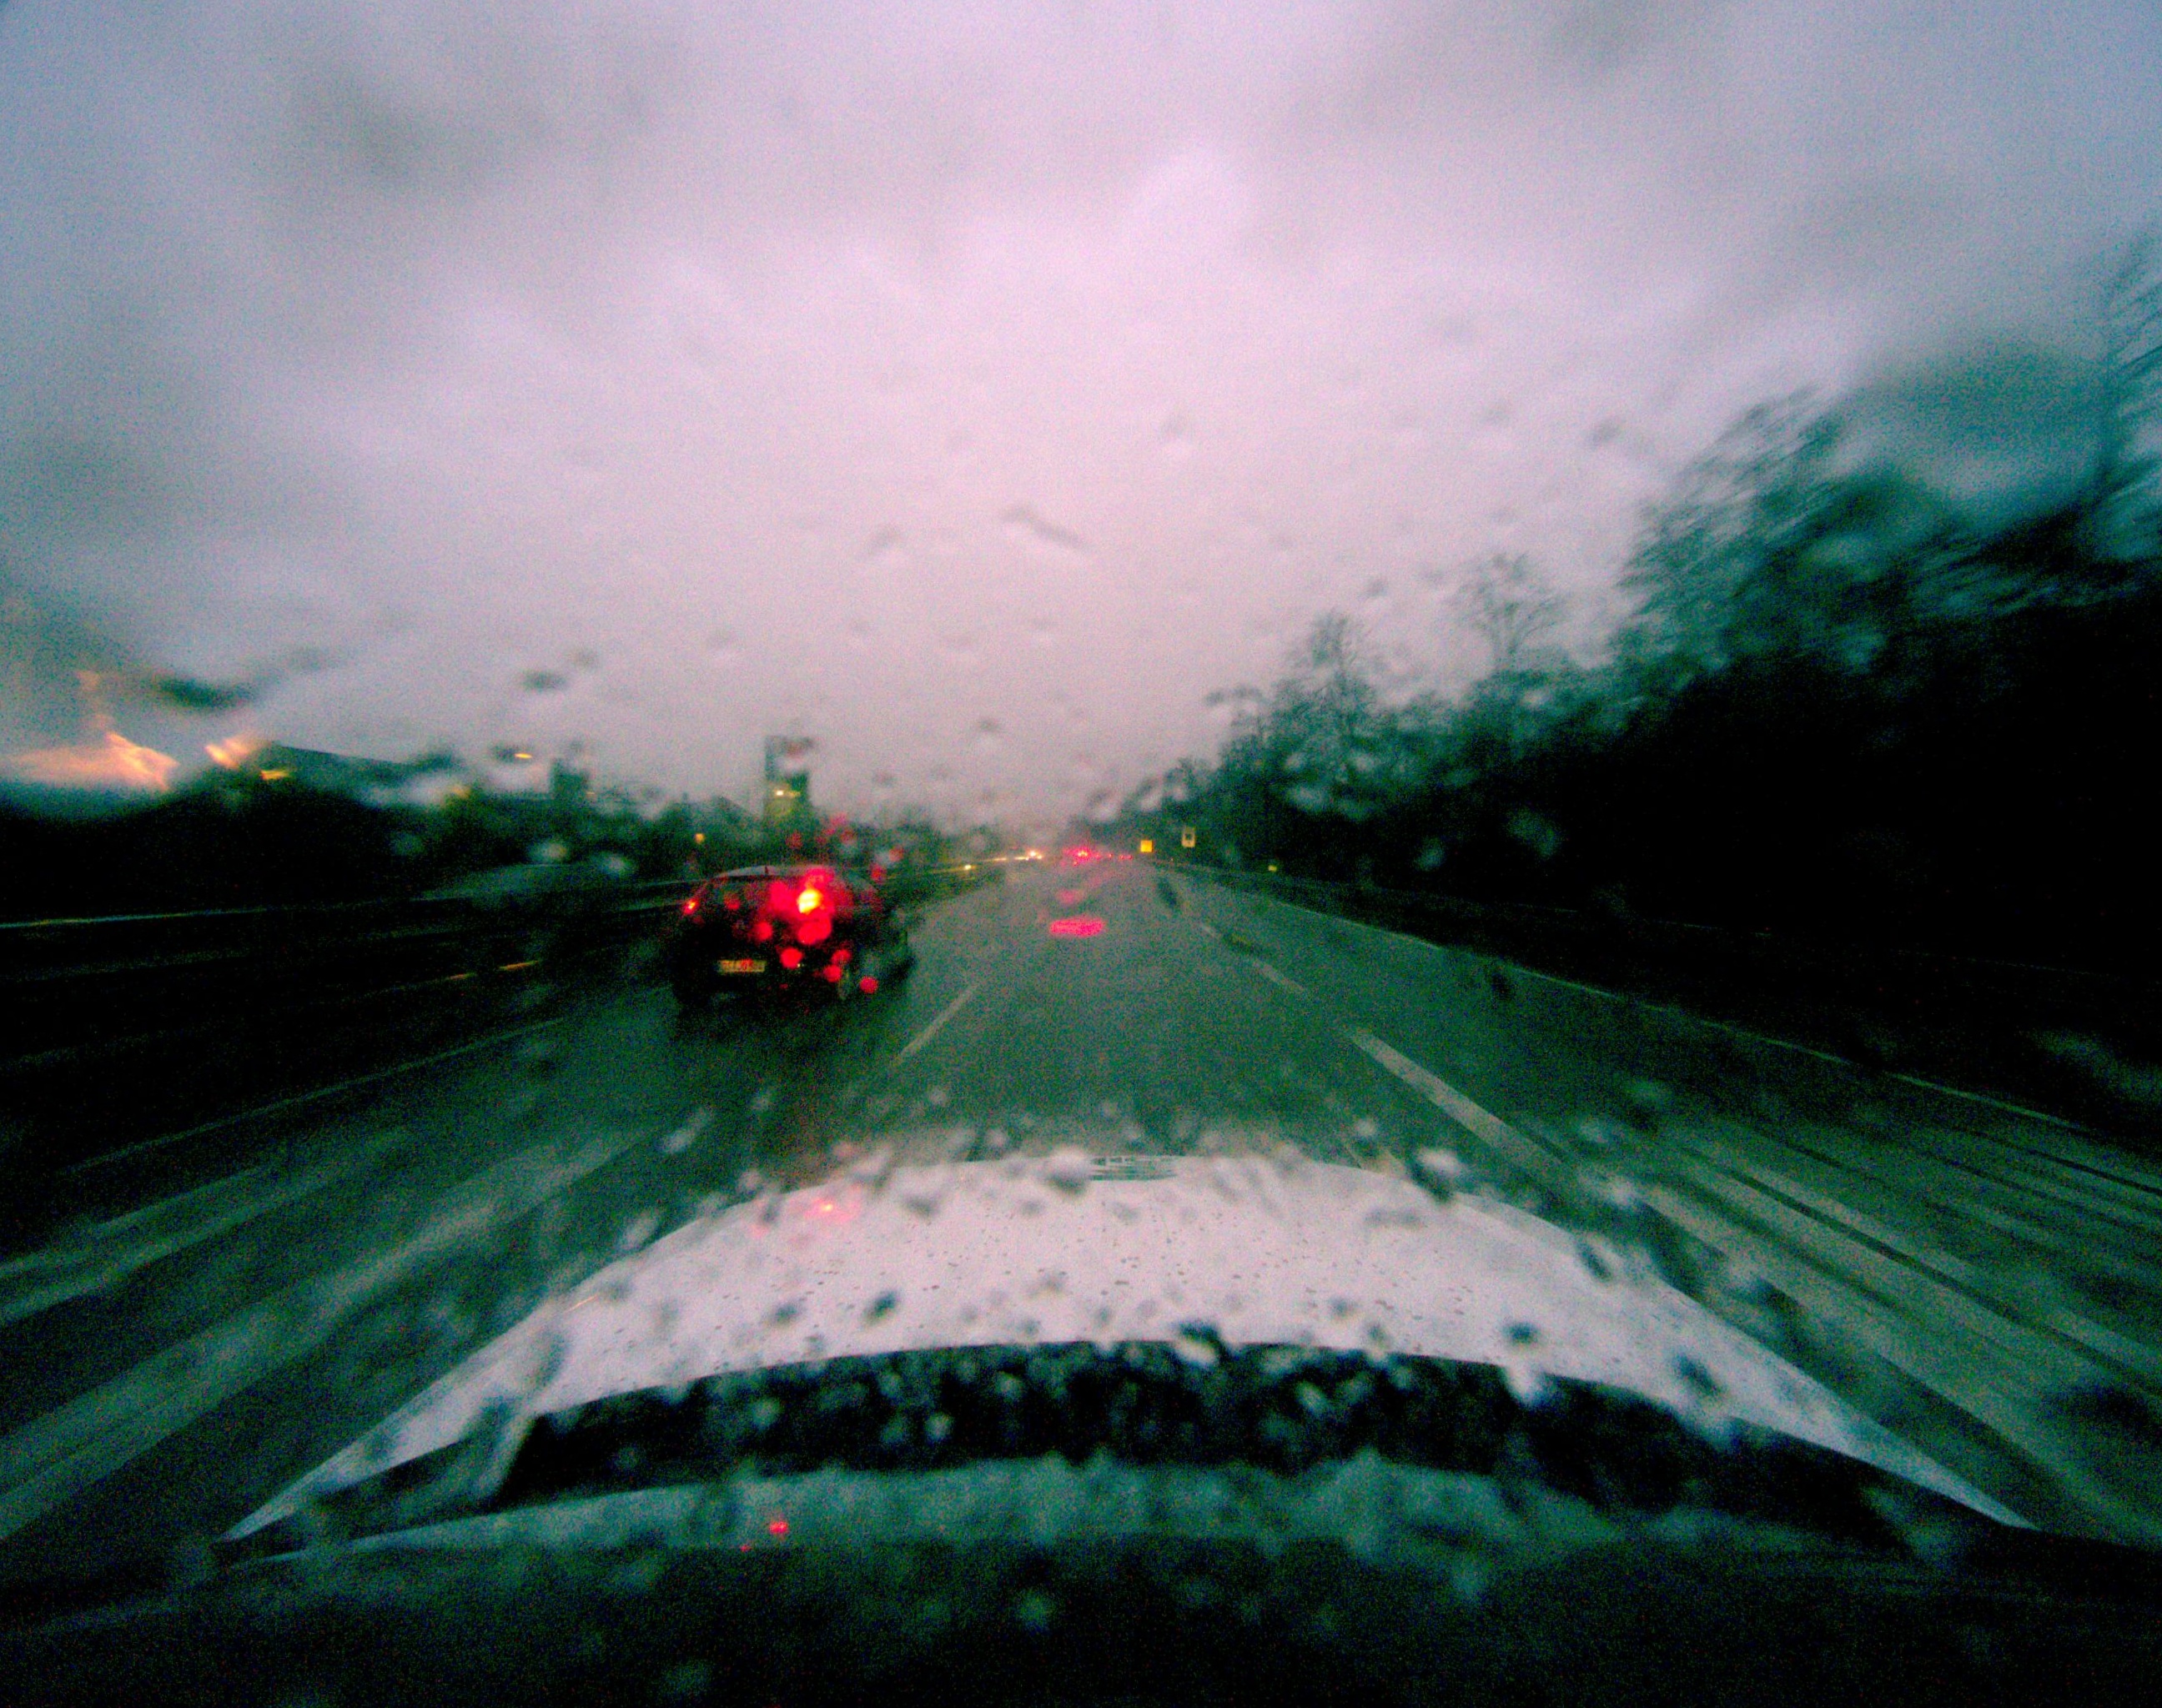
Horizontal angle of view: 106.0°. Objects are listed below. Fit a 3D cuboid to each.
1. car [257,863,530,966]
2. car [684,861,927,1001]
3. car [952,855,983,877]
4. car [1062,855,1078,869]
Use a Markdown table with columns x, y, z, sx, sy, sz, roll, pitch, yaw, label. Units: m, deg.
| x | y | z | sx | sy | sz | roll | pitch | yaw | label |
| --- | --- | --- | --- | --- | --- | --- | --- | --- | --- |
| -12.798 | 1.033 | 15.559 | 1.734 | 1.640 | 4.001 | -1 | 0 | 1 | car |
| -3.169 | 0.797 | 10.253 | 1.620 | 1.392 | 4.000 | 1 | 0 | 1 | car |
| -9.062 | 0.915 | 65.287 | 1.734 | 1.640 | 4.002 | -1 | 0 | 2 | car |
| -1.108 | 0.757 | 81.672 | 1.410 | 1.317 | 3.084 | 1 | 0 | 2 | car |
